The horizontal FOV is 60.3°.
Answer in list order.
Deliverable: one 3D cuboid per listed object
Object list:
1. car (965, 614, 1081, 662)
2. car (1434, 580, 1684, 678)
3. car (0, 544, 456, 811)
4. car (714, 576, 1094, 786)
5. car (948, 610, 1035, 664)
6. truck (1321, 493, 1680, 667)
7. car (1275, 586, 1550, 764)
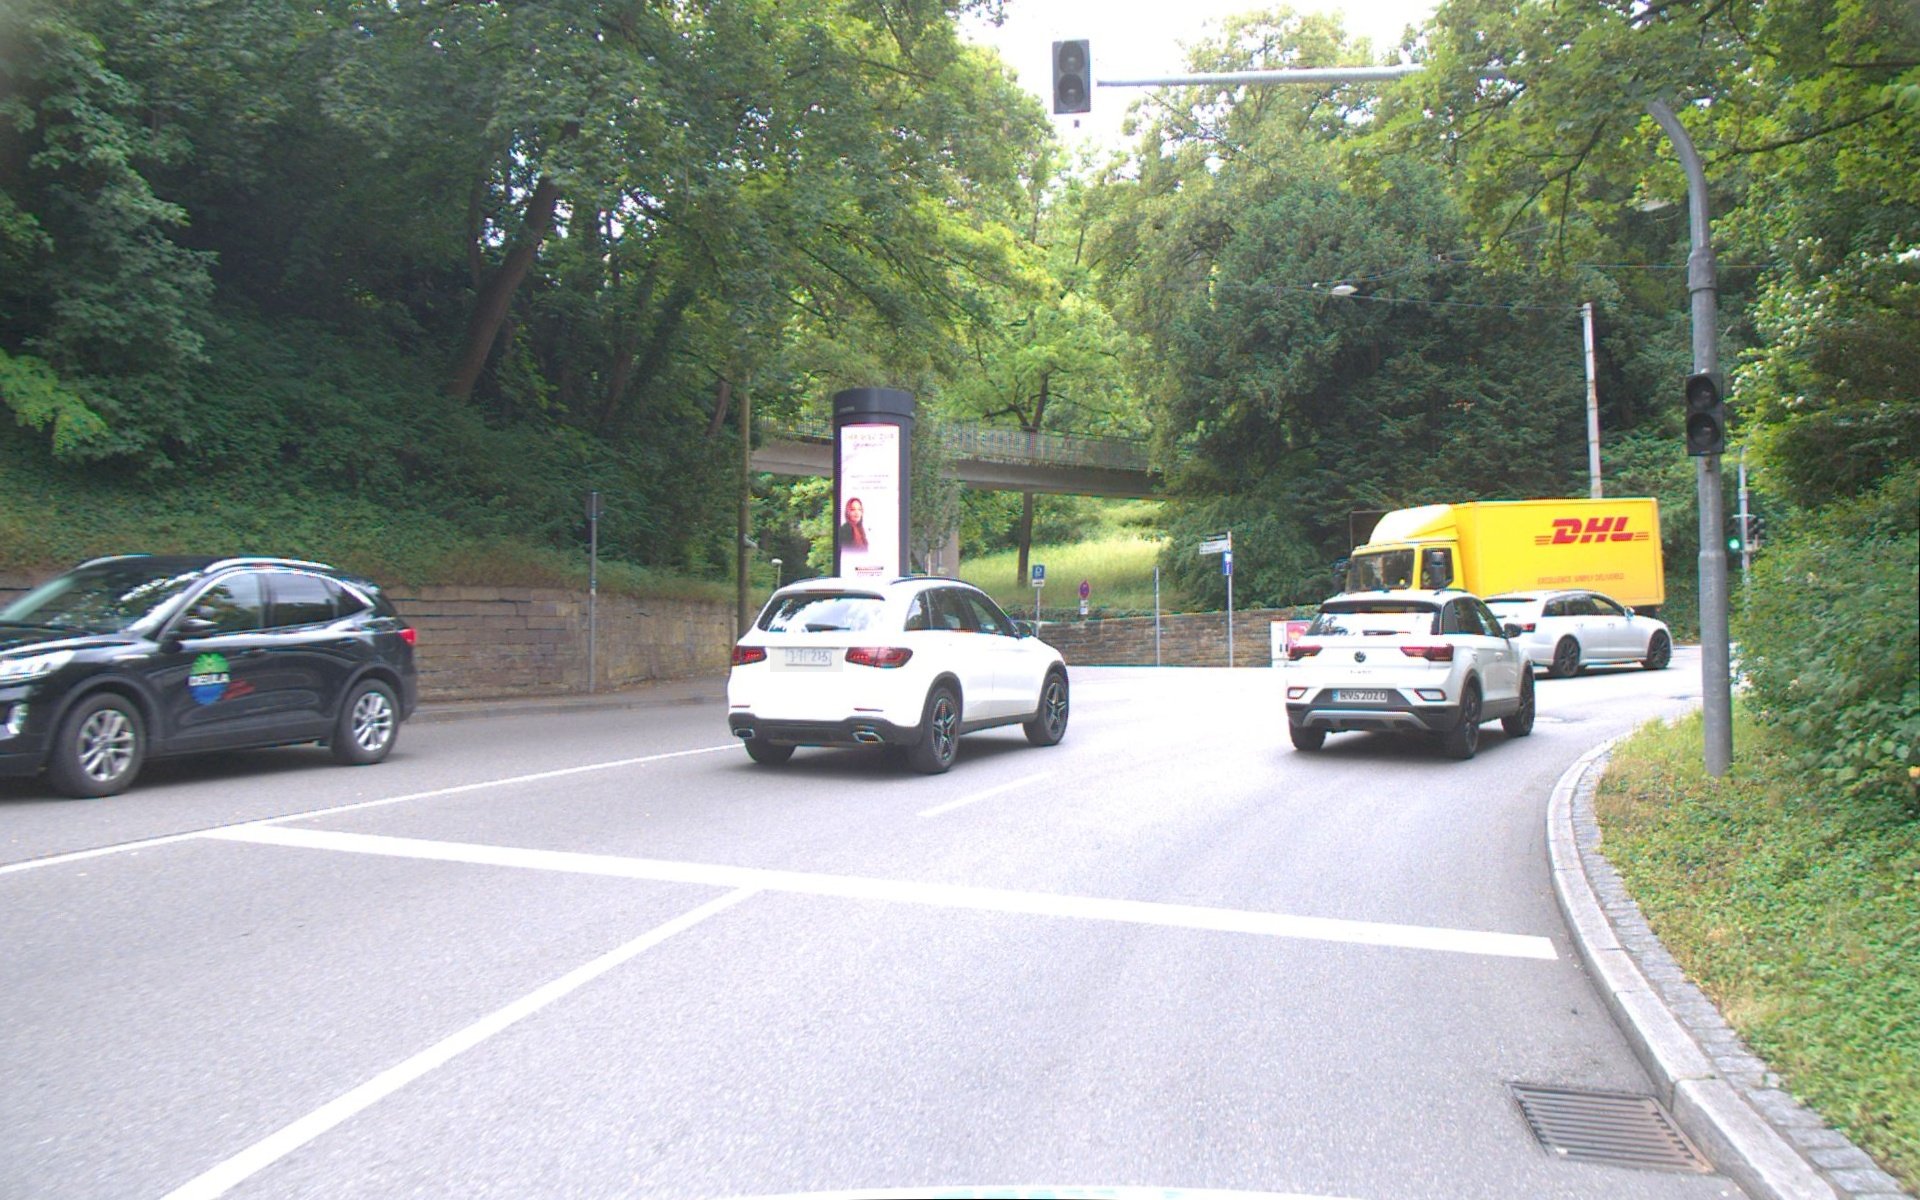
[{"bbox_3d":[2.196,1.331,56.930,3.968,1.579,1.748,2,-3,-43],"label":"car"},{"bbox_3d":[10.597,0.464,29.119,4.725,1.561,1.847,-1,0,-37],"label":"car"},{"bbox_3d":[-6.008,0.502,12.531,1.718,1.653,4.650,1,-1,20],"label":"car"},{"bbox_3d":[-0.320,0.628,15.569,1.821,1.633,4.670,1,0,22],"label":"car"},{"bbox_3d":[0.806,0.978,44.896,1.715,1.382,3.992,-1,-1,-8],"label":"car"},{"bbox_3d":[11.421,-0.397,34.758,7.471,3.358,2.733,-1,-1,-28],"label":"truck"},{"bbox_3d":[4.797,0.661,17.089,1.722,1.580,4.329,1,0,30],"label":"car"}]
